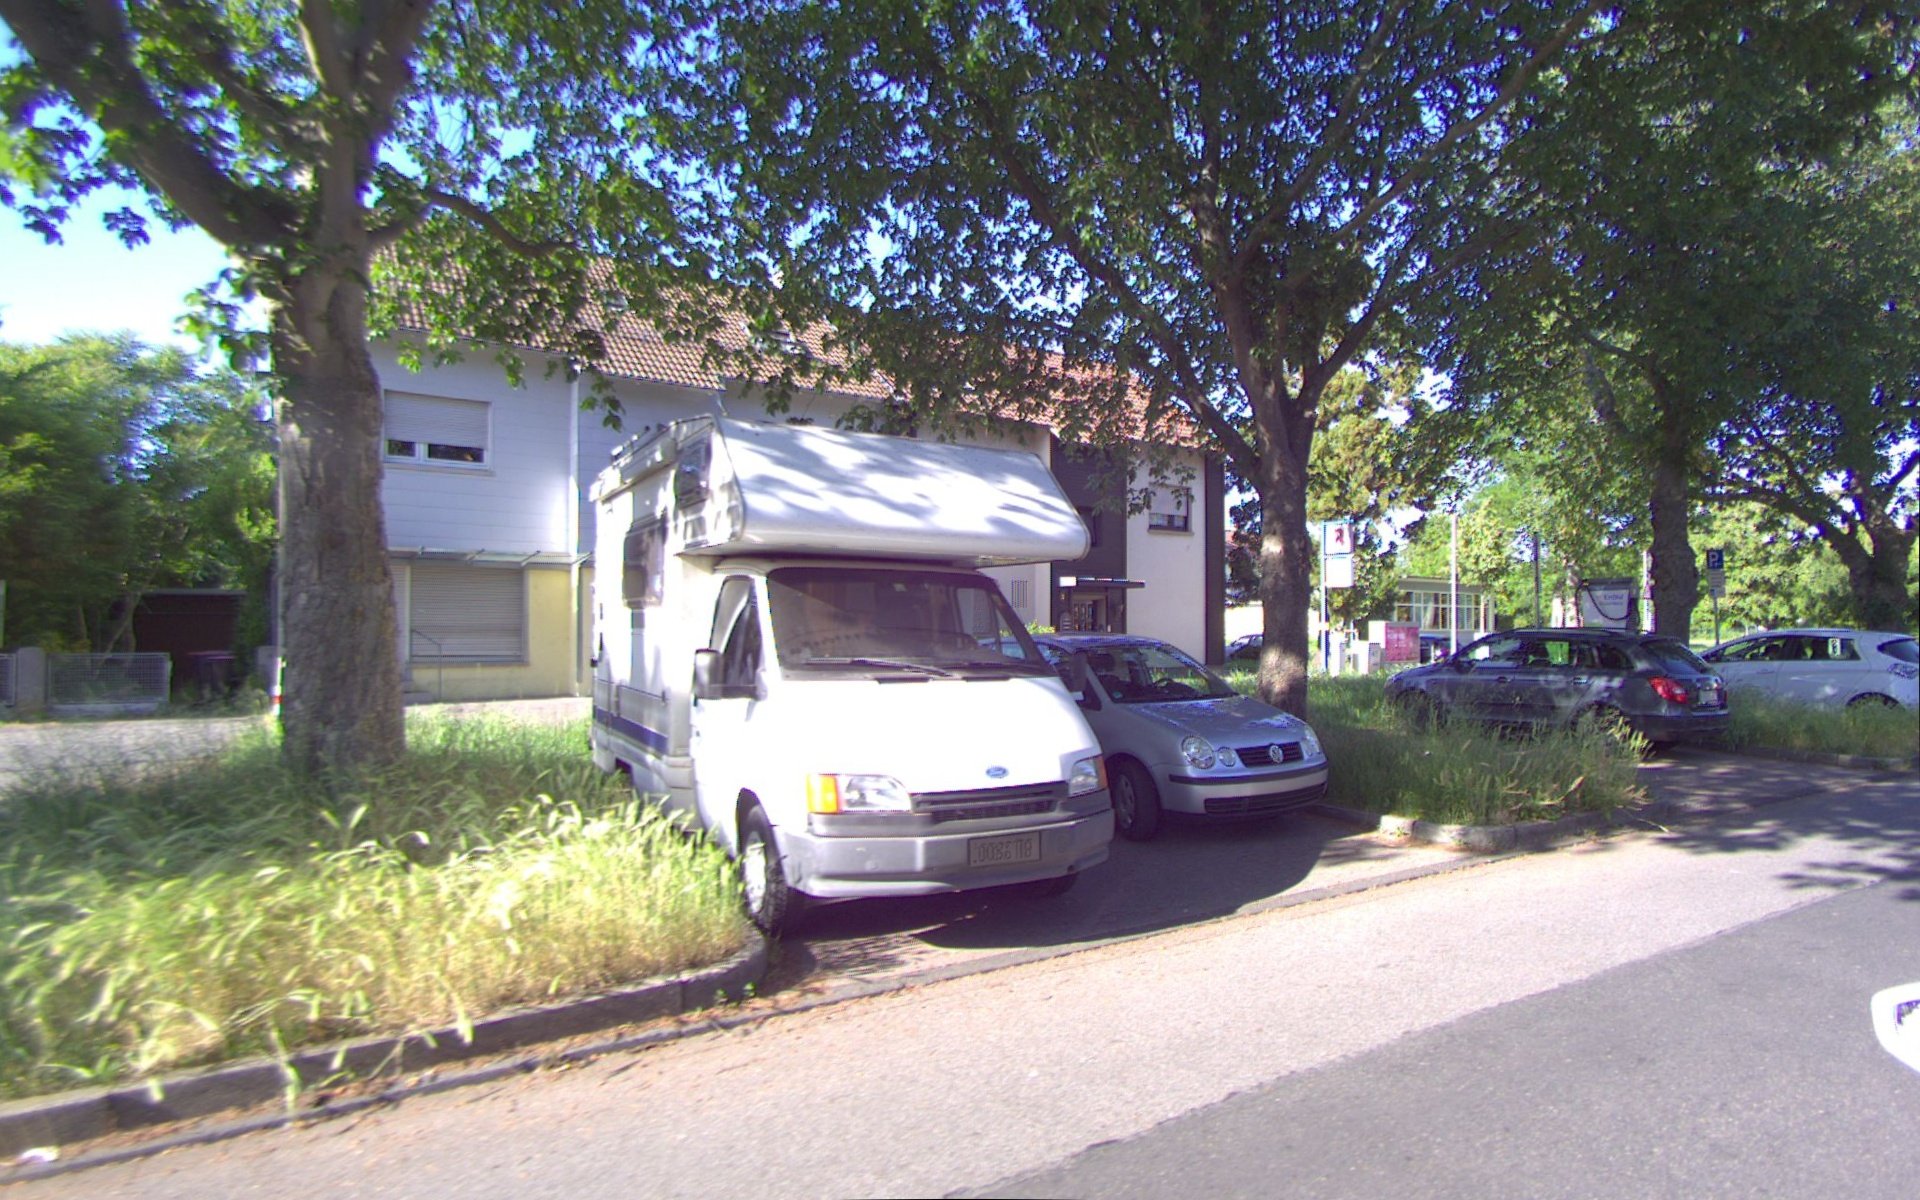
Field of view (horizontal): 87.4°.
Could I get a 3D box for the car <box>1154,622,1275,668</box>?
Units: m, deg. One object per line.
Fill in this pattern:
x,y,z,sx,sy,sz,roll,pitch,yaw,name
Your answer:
9.380,1.623,37.278,1.983,1.385,3.955,1,1,-38,car

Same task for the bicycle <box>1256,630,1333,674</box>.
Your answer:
10.176,1.539,30.424,0.696,1.192,4.035,-1,-1,42,bicycle

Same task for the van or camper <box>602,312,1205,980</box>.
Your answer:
-1.025,0.129,7.277,1.976,2.842,5.749,2,1,-29,van or camper

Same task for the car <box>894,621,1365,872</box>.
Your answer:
1.250,1.048,8.981,1.979,1.478,3.963,2,1,-33,car

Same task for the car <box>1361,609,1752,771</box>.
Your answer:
7.684,1.039,13.323,1.978,1.610,3.964,2,1,-32,car

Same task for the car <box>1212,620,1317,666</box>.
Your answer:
12.876,1.774,42.645,1.977,1.844,3.966,1,-1,-31,car

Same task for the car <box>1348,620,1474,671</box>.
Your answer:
16.564,1.635,37.052,1.802,1.737,3.966,1,-1,-31,car

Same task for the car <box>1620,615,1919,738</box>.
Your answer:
13.077,1.087,15.901,1.945,1.683,3.965,1,-1,-32,car
